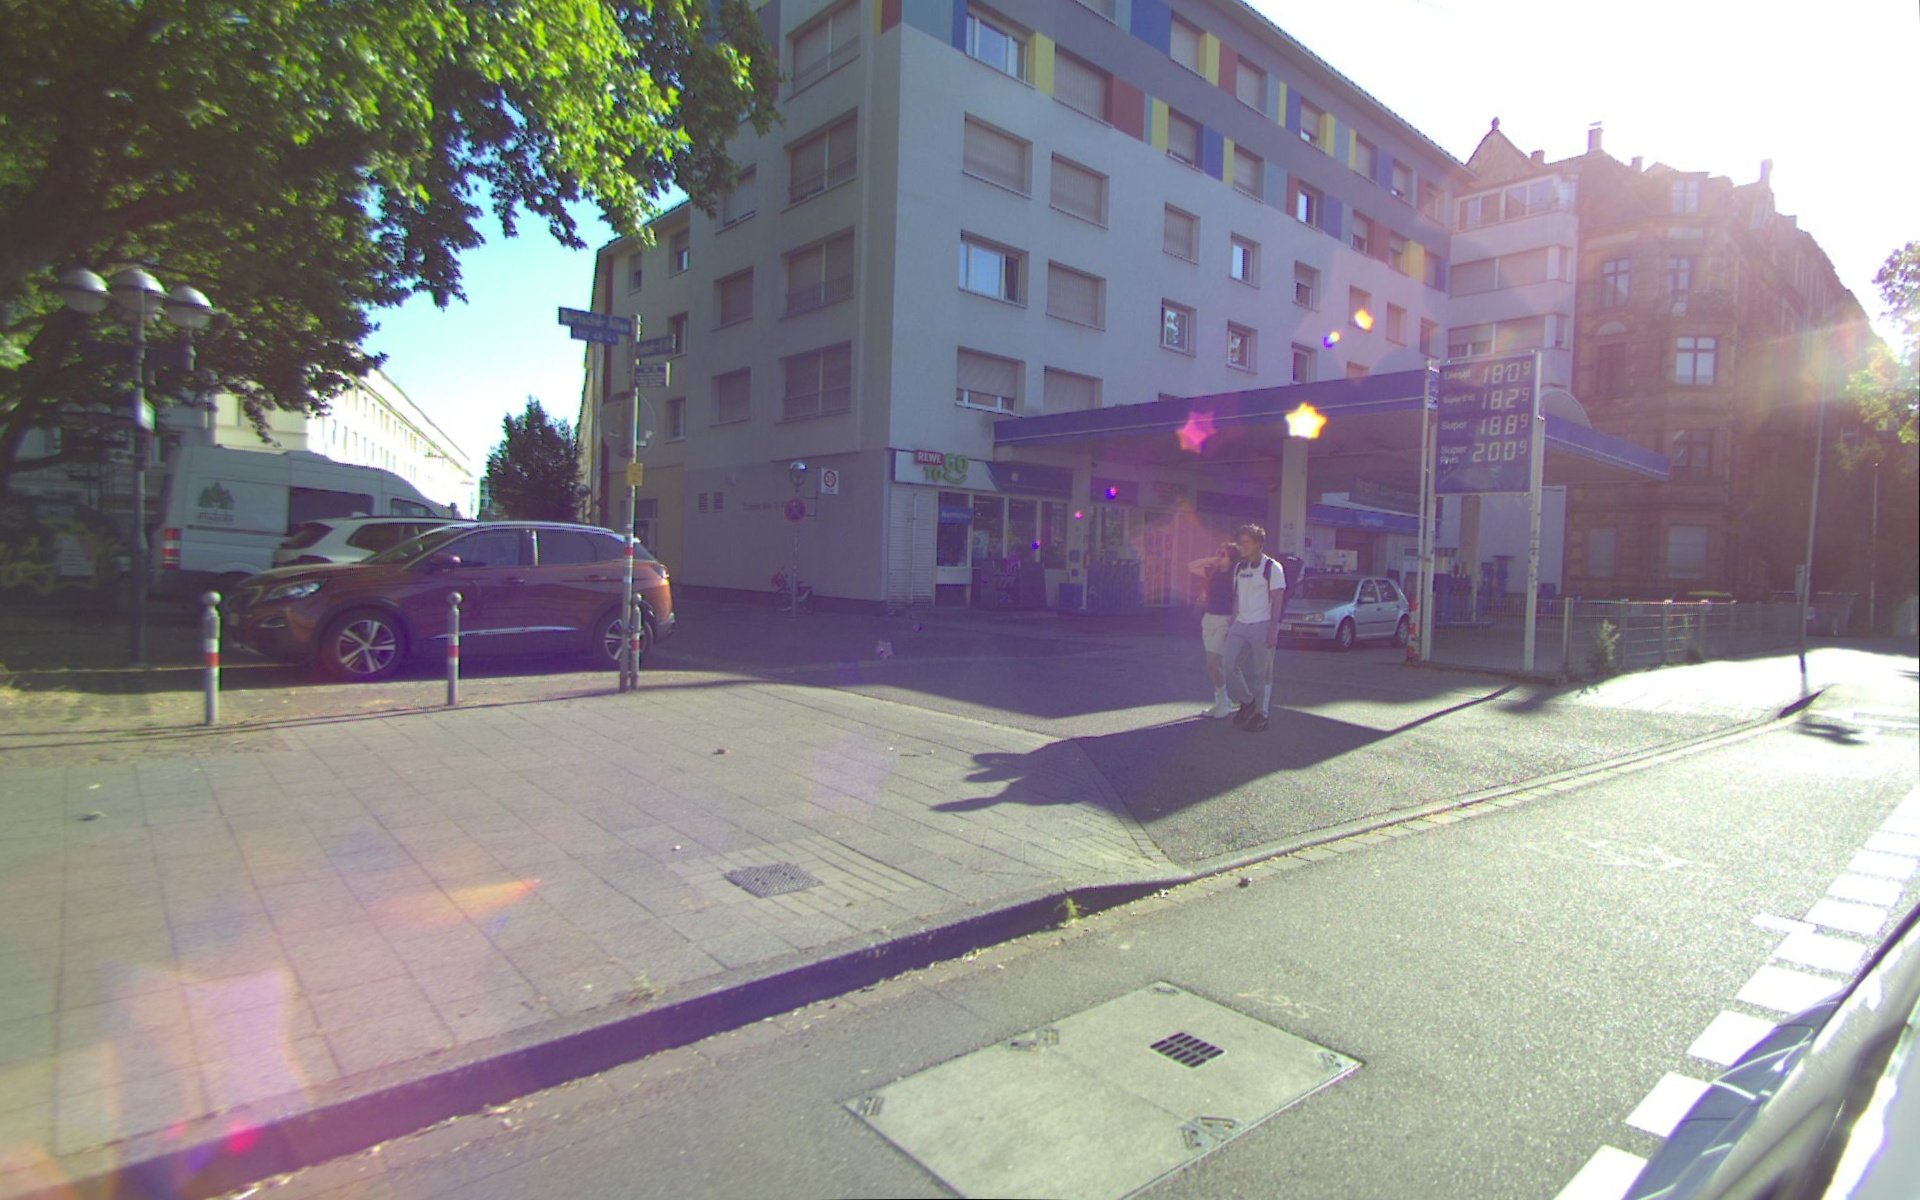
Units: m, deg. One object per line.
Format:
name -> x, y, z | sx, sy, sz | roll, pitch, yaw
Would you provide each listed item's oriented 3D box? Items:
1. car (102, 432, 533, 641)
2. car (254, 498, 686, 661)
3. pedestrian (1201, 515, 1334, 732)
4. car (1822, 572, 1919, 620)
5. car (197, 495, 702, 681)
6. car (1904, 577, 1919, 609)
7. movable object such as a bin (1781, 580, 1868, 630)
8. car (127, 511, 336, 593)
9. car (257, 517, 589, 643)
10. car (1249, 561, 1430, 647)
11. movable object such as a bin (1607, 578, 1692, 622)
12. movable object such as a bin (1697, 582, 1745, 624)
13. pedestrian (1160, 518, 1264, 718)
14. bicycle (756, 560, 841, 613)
car -> -10.337, -0.935, 16.625 | 5.696, 2.867, 2.245 | 0, 3, -42
car -> -6.195, -0.225, 13.180 | 4.715, 1.756, 1.863 | 1, 2, -42
pedestrian -> 2.719, 0.183, 8.961 | 0.863, 1.797, 0.605 | 0, 5, -38
car -> 44.590, -0.172, 48.559 | 1.881, 2.037, 4.583 | 0, 4, -41
car -> -5.350, -0.118, 11.069 | 4.585, 1.622, 1.819 | 1, 2, -44
car -> 64.514, -0.341, 65.941 | 1.966, 2.037, 4.184 | 0, 5, -43
movable object such as a bin -> 28.511, 0.148, 33.368 | 2.036, 1.509, 1.718 | 3, 2, 45
car -> -20.835, -1.328, 29.048 | 4.668, 2.038, 1.997 | 2, 1, -42
car -> -7.744, -0.267, 14.777 | 3.930, 1.589, 1.863 | 1, 2, -42
car -> 7.389, 0.037, 19.508 | 4.028, 1.448, 1.570 | 0, 3, -42
movable object such as a bin -> 24.938, -0.019, 36.611 | 1.749, 1.441, 2.210 | 0, 2, -45
movable object such as a bin -> 26.837, 0.086, 35.695 | 1.012, 1.406, 1.187 | 0, 2, -43
pedestrian -> 2.362, 0.147, 9.496 | 0.677, 1.798, 0.604 | 0, 2, -38
bicycle -> -4.004, -0.352, 25.001 | 2.121, 1.224, 0.826 | 3, 2, 38
